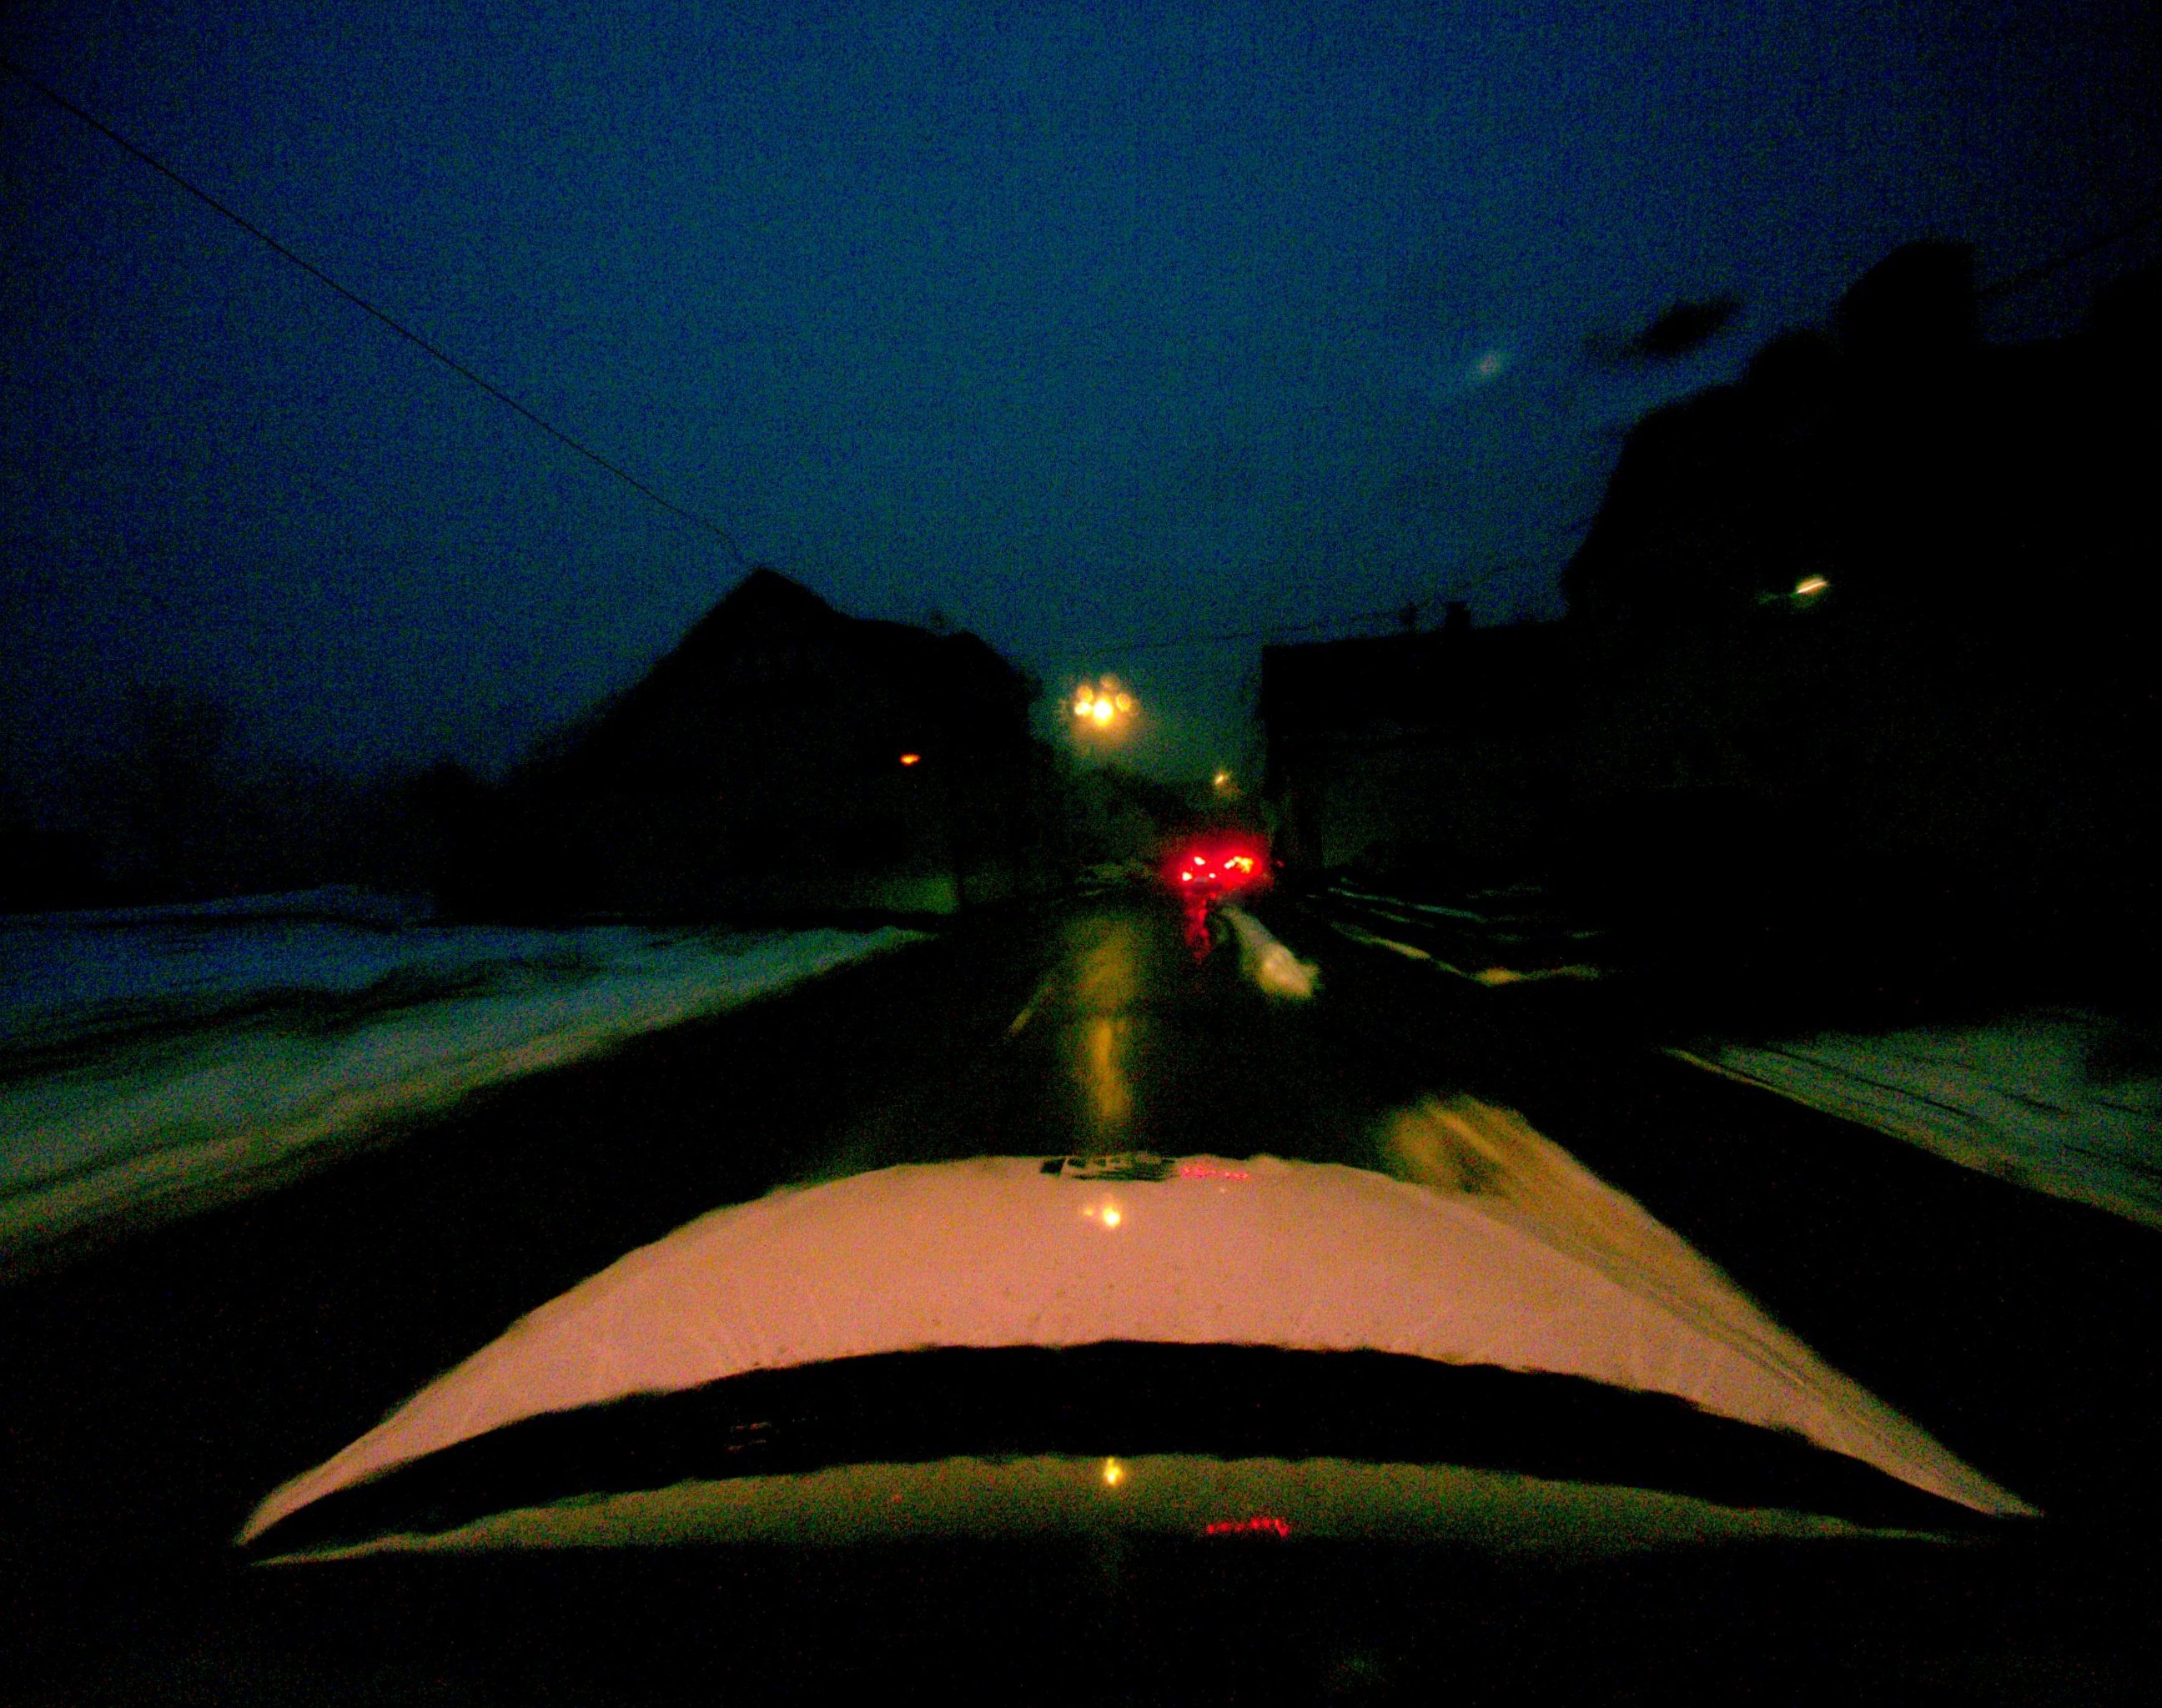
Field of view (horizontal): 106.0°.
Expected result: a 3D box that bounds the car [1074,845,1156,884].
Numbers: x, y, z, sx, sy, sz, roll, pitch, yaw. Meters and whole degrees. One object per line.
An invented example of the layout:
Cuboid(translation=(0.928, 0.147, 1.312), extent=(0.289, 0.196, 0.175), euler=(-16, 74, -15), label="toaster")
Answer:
Cuboid(translation=(2.183, 0.687, 52.396), extent=(4.690, 2.013, 2.012), euler=(-4, 2, 23), label="car")

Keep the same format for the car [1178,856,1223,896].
Cuboid(translation=(5.962, 1.055, 40.349), extent=(1.981, 1.507, 4.013), euler=(-5, 2, 10), label="car")

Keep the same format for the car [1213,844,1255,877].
Cuboid(translation=(10.428, 0.420, 55.208), extent=(1.976, 1.837, 4.022), euler=(-4, 2, 21), label="car")

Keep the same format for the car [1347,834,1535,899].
Cuboid(translation=(8.846, 0.295, 20.270), extent=(3.966, 1.453, 1.718), euler=(-1, 2, 7), label="car")
